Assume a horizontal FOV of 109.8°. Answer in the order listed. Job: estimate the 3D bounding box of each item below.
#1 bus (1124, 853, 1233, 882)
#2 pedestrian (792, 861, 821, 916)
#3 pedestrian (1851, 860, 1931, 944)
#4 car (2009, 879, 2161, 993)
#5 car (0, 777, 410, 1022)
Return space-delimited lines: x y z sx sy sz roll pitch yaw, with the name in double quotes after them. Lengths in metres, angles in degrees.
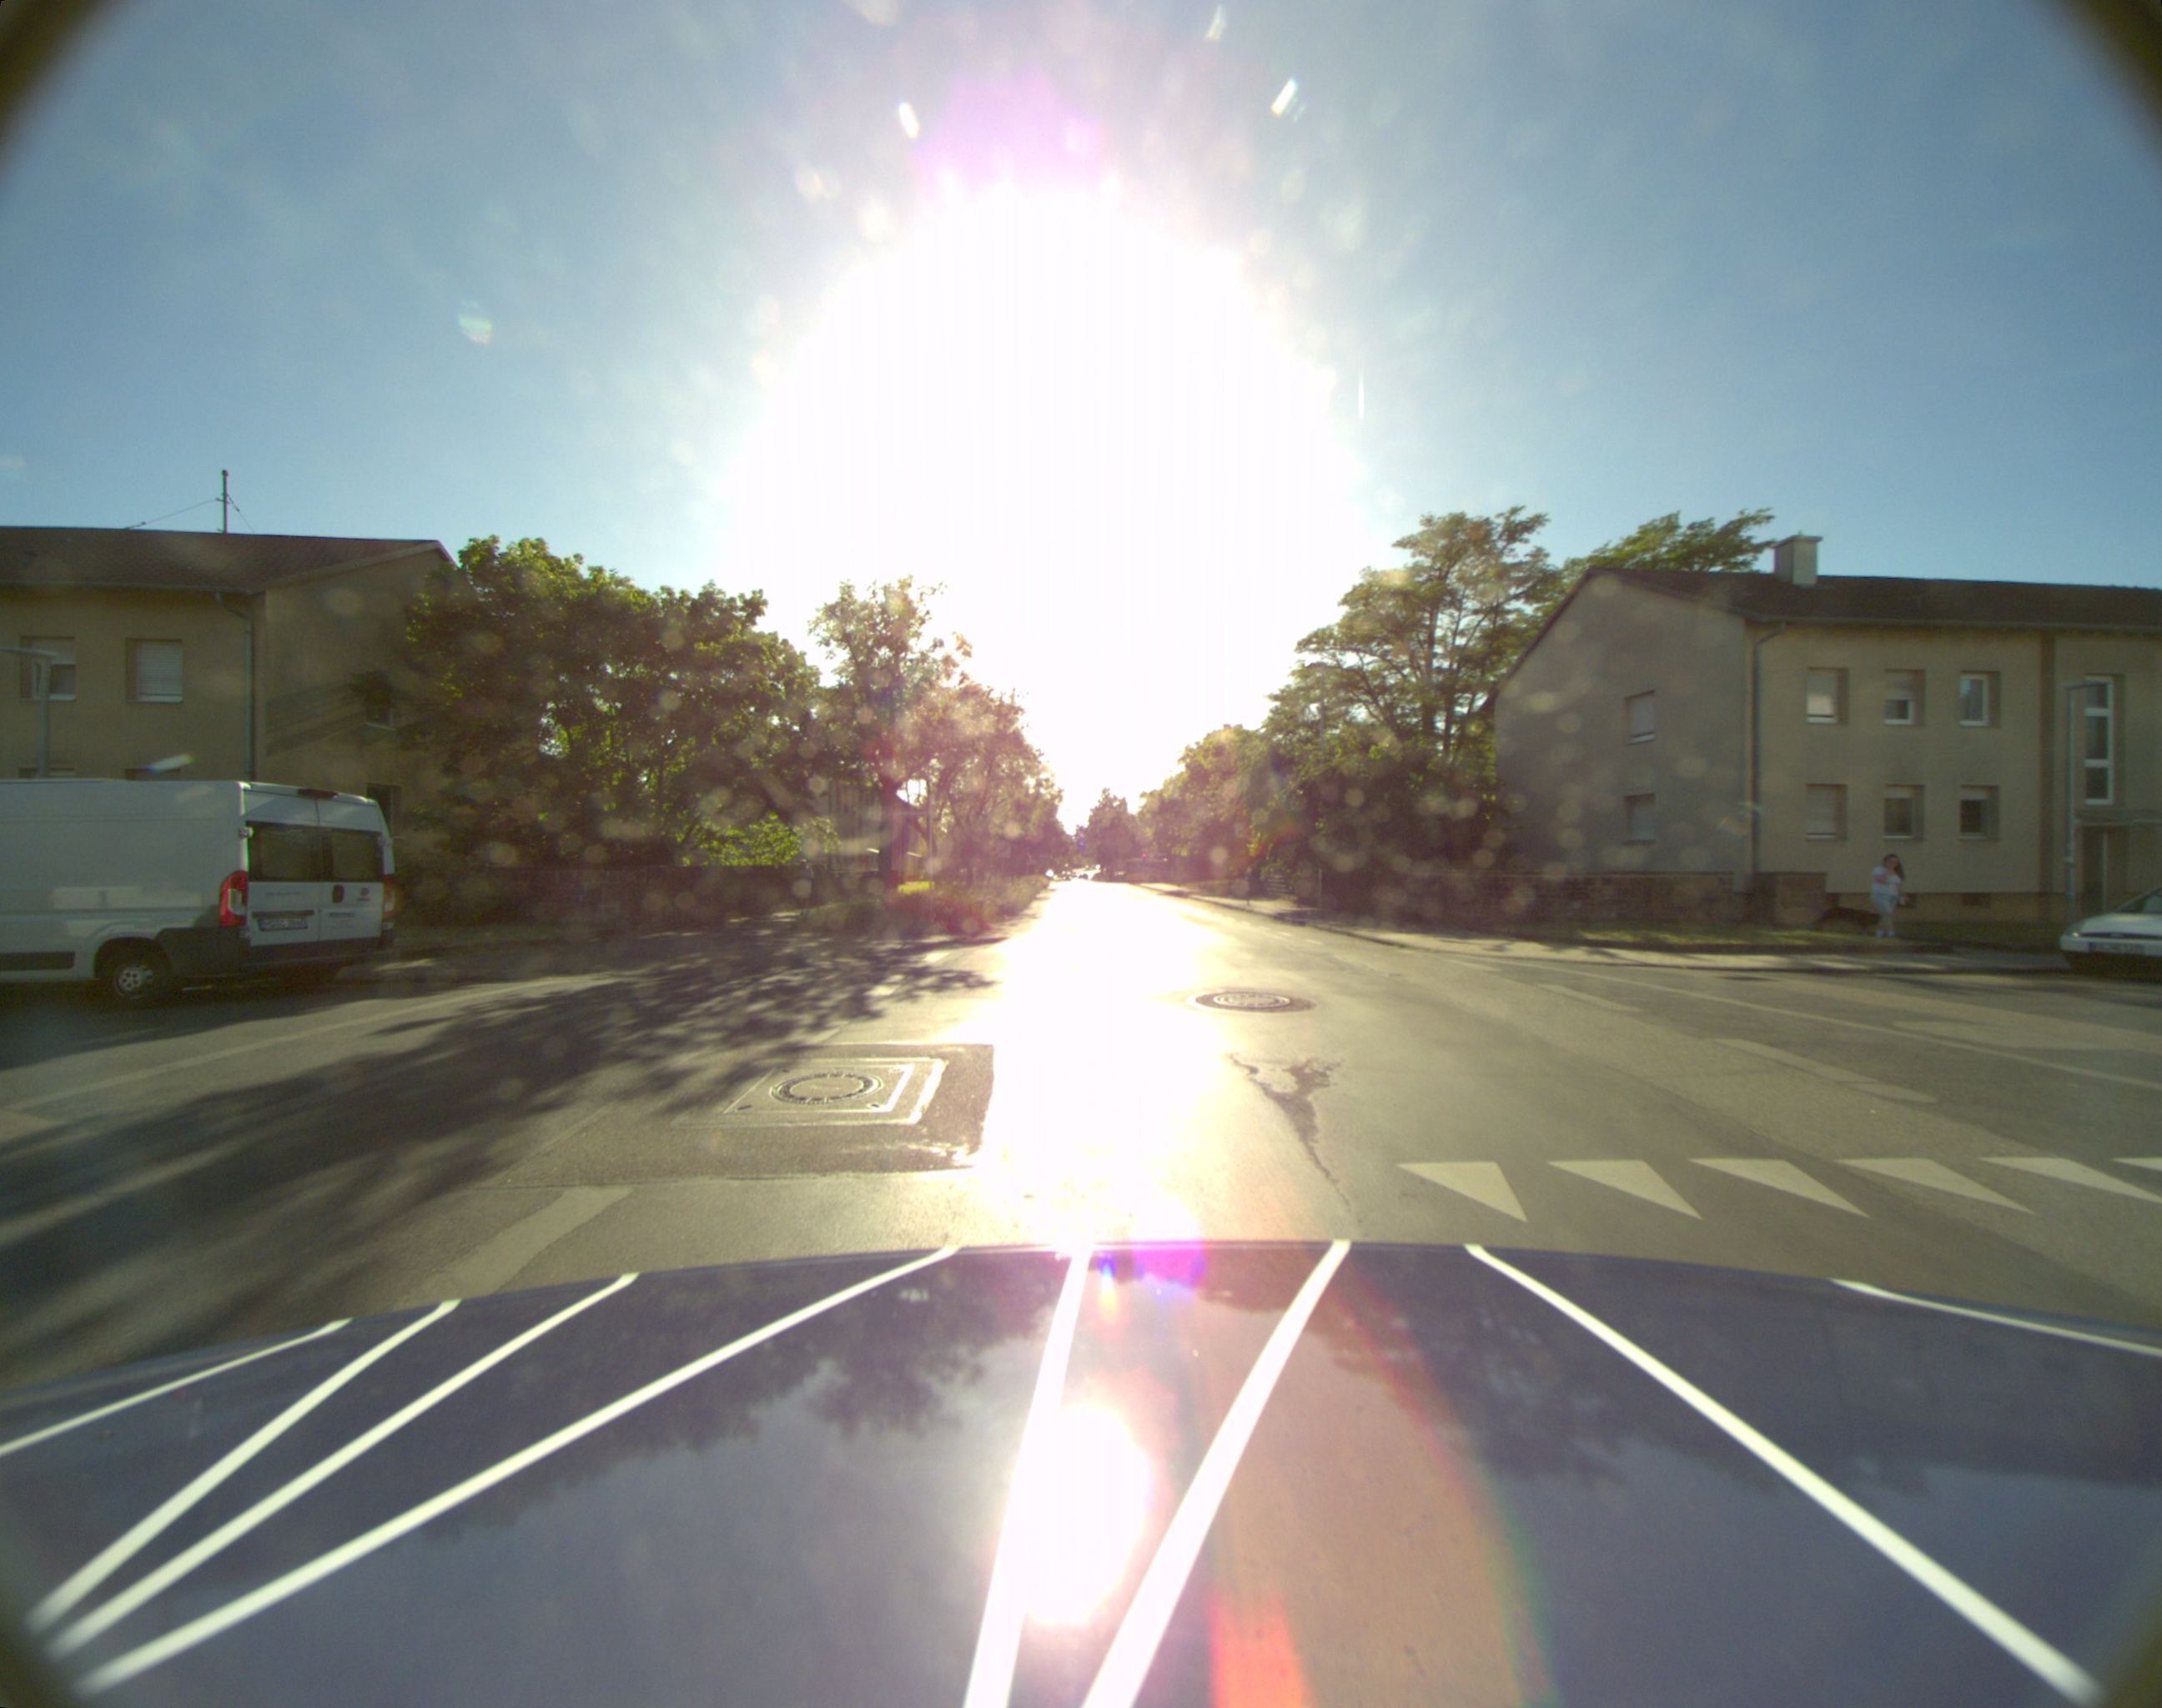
11.675 1.641 91.035 12.452 3.079 3.135 -2 -1 19 "bus"
-8.660 1.082 24.004 0.638 1.695 0.612 2 -1 -2 "pedestrian"
15.333 0.898 14.406 0.786 1.544 0.639 -2 -1 -4 "pedestrian"
15.732 1.087 10.436 3.777 1.470 1.871 0 -2 -3 "car"
-11.773 0.485 8.918 5.611 2.524 2.265 0 -1 -4 "car"
